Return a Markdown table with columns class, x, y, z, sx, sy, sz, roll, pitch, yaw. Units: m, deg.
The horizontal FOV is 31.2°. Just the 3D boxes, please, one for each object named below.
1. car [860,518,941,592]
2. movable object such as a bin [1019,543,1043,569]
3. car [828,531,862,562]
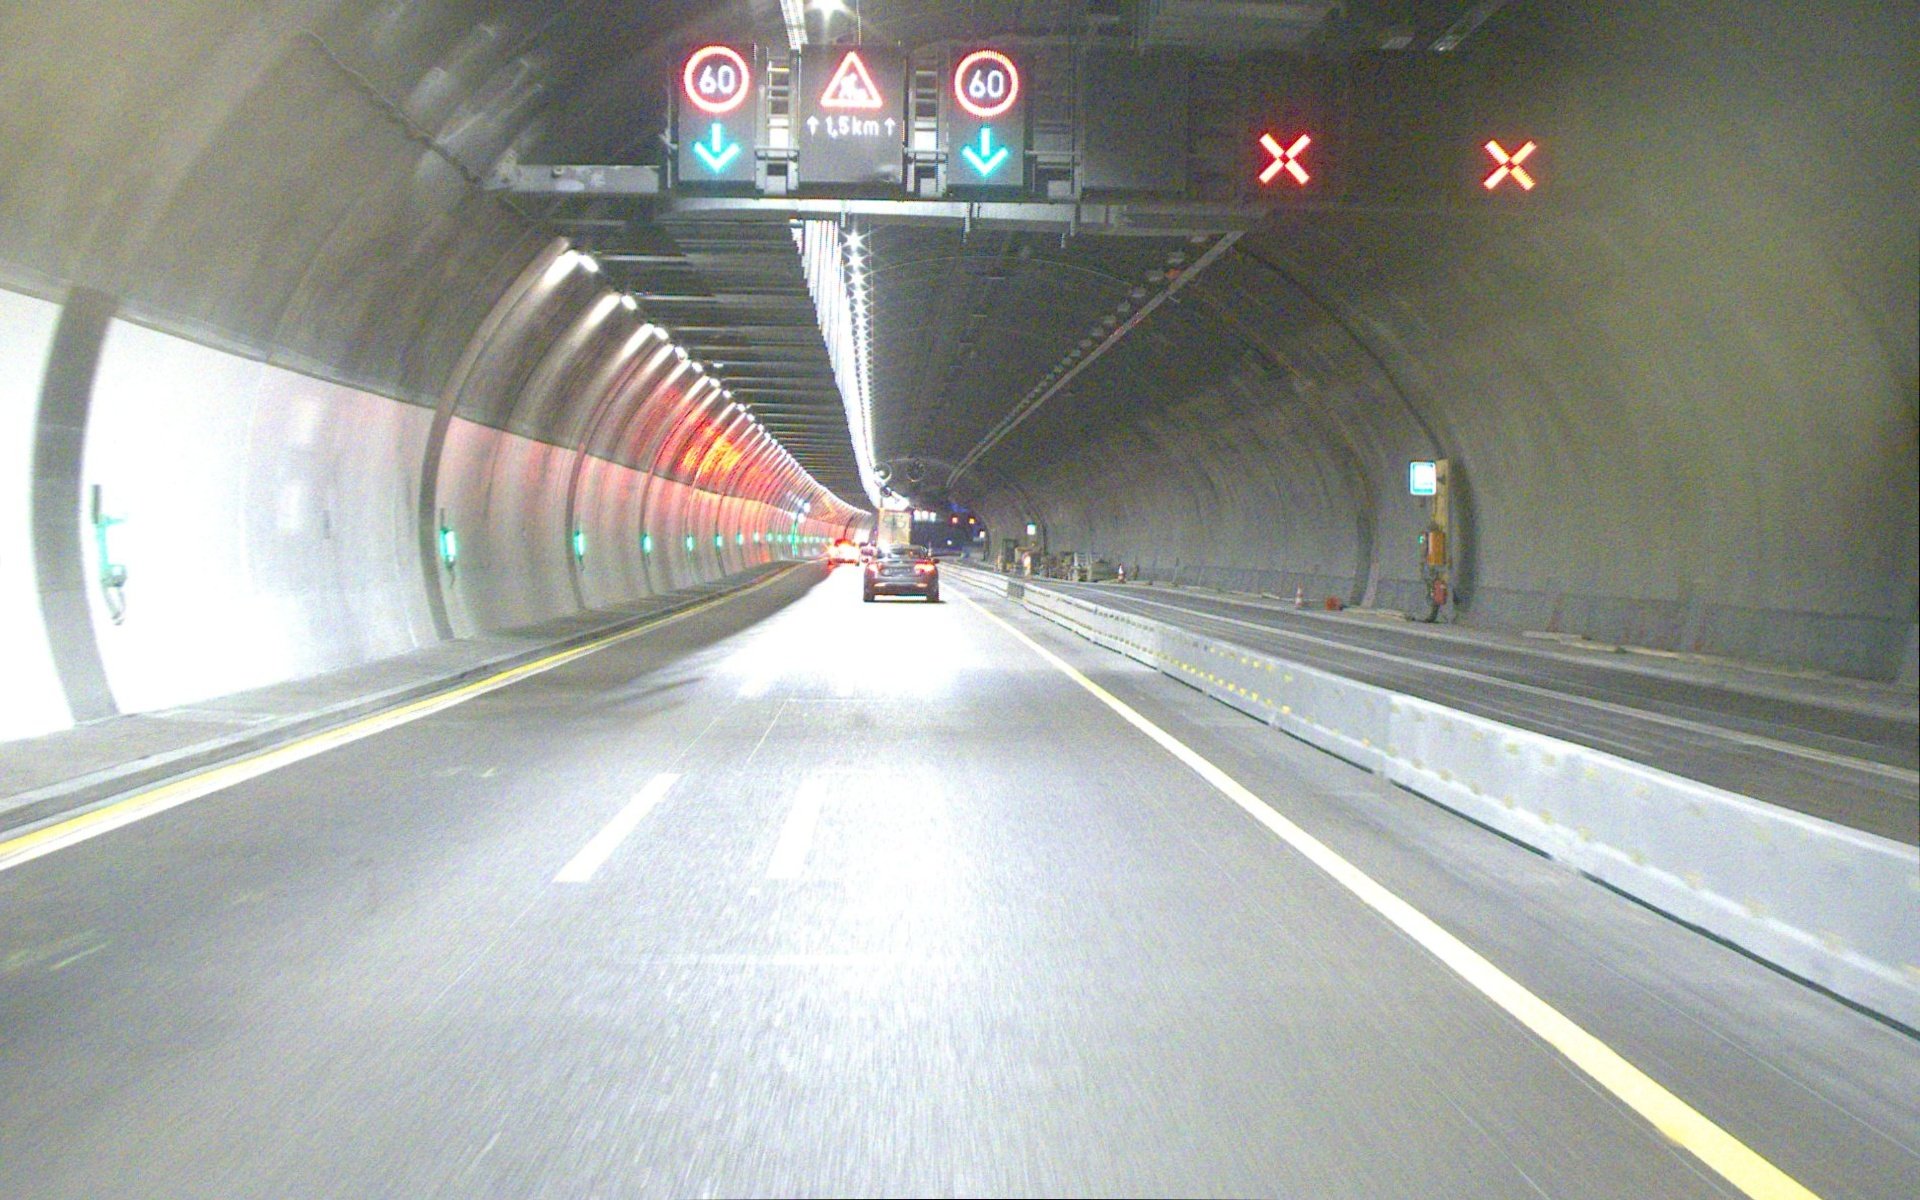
| class | x | y | z | sx | sy | sz | roll | pitch | yaw |
| --- | --- | --- | --- | --- | --- | --- | --- | --- | --- |
| car | -1.523 | -1.143 | 86.005 | 1.946 | 1.788 | 4.001 | 1 | 1 | -2 |
| movable object such as a bin | 4.199 | -2.605 | 202.683 | 1.234 | 1.437 | 2.217 | 3 | 1 | -2 |
| car | -6.530 | -3.040 | 195.029 | 1.930 | 1.681 | 4.001 | 1 | 1 | -2 |
